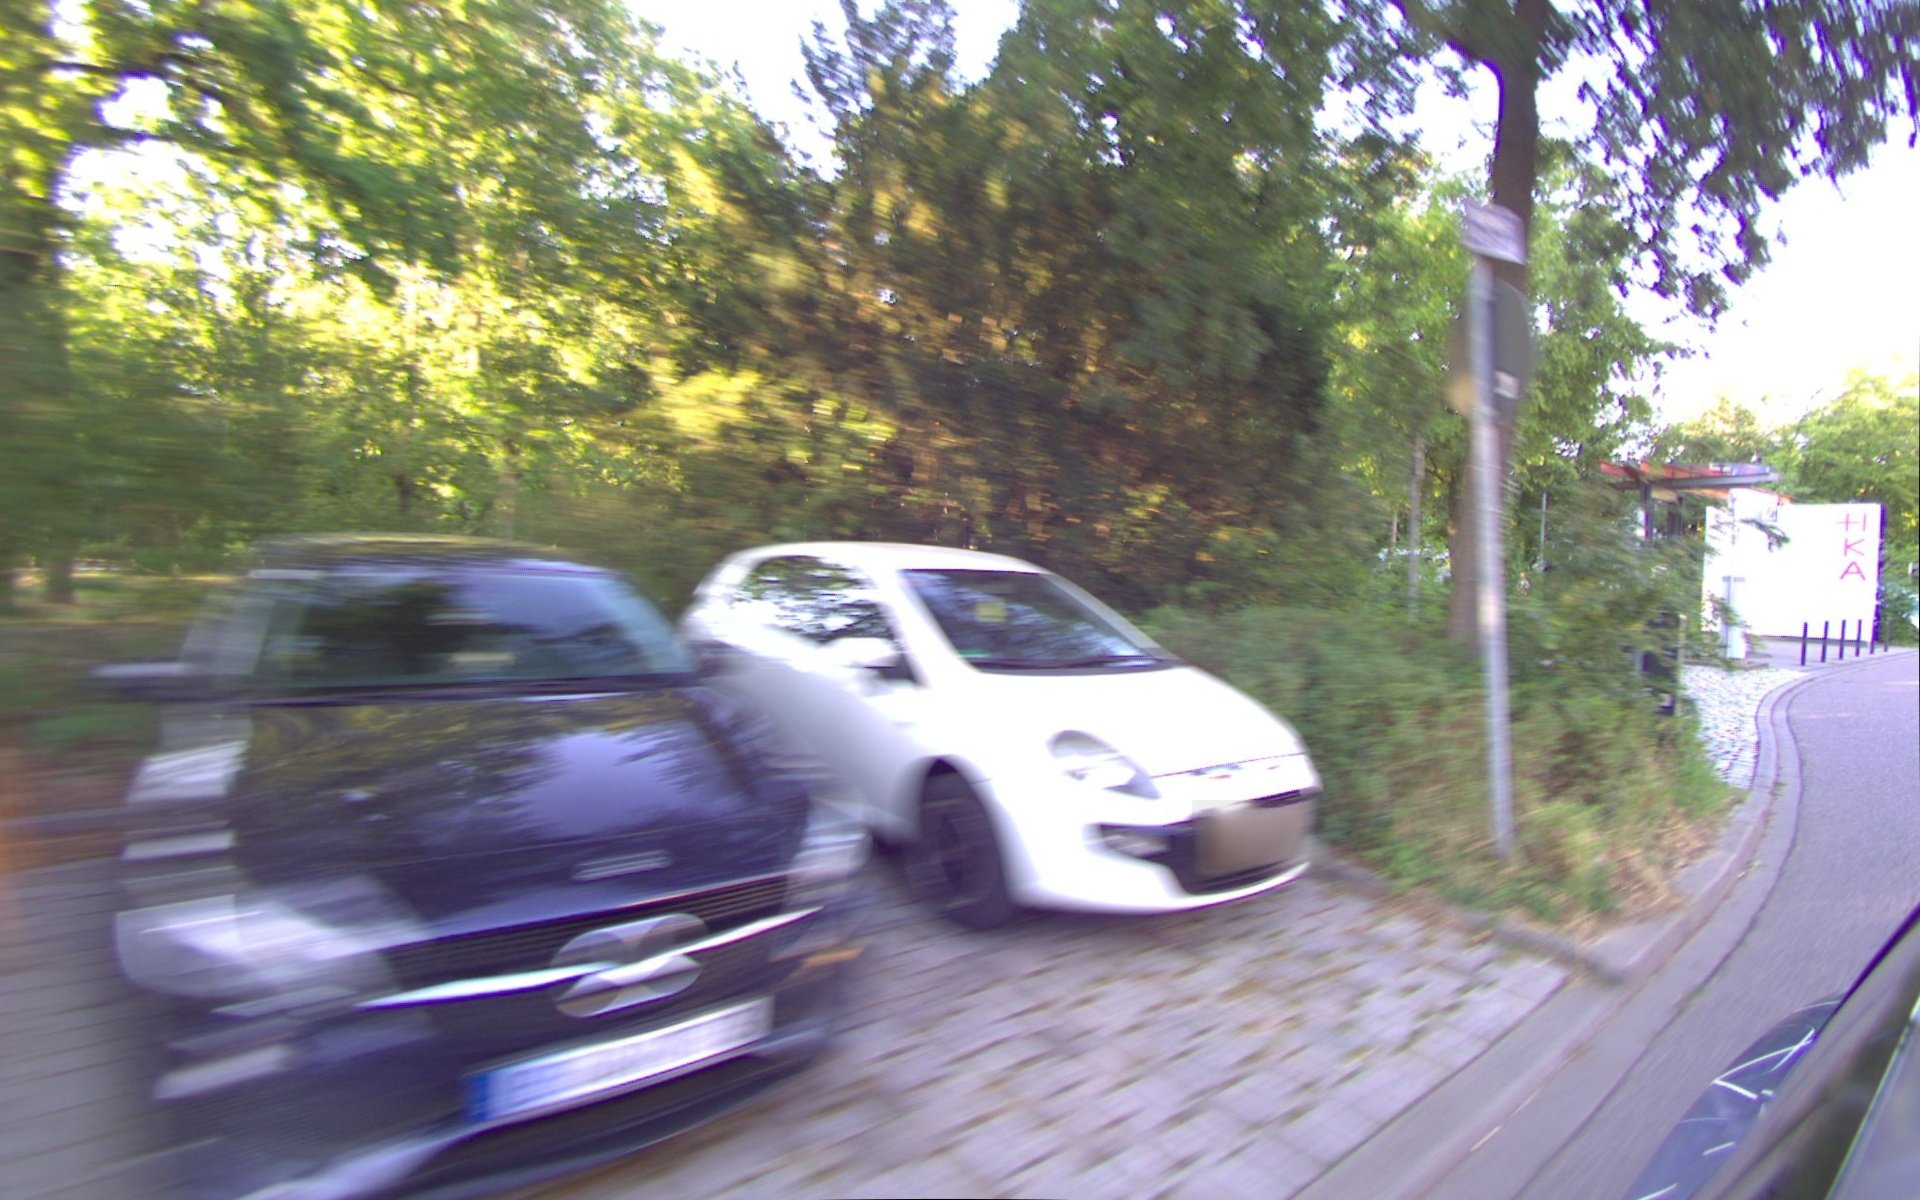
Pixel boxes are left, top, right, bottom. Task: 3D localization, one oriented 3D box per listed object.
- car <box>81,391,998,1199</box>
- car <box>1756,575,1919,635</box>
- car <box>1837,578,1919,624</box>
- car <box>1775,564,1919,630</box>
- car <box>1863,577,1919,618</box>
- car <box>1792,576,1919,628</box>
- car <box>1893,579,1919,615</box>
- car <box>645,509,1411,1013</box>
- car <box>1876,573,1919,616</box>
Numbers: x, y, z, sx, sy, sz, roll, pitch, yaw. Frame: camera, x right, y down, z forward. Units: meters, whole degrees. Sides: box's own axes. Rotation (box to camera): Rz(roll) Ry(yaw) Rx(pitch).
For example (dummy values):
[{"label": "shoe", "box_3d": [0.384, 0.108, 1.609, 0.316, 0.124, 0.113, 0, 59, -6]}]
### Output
[{"label": "car", "box_3d": [-1.822, 0.392, 3.565, 1.694, 1.573, 3.999, 1, 2, -38]}, {"label": "car", "box_3d": [29.098, 0.139, 32.721, 1.881, 1.572, 4.942, -1, 5, -38]}, {"label": "car", "box_3d": [36.654, 0.086, 38.679, 1.886, 1.555, 4.376, -1, 5, -38]}, {"label": "car", "box_3d": [31.097, -0.106, 34.425, 1.881, 1.938, 4.867, -1, 5, -38]}, {"label": "car", "box_3d": [40.995, -0.030, 42.417, 1.842, 1.572, 4.376, -1, 5, -38]}, {"label": "car", "box_3d": [32.975, 0.077, 35.955, 1.881, 1.572, 4.942, -1, 5, -38]}, {"label": "car", "box_3d": [45.001, -0.034, 45.372, 1.696, 1.572, 4.376, -1, 5, -38]}, {"label": "car", "box_3d": [-0.051, 0.407, 5.252, 1.694, 1.573, 3.999, 1, 2, -38]}, {"label": "car", "box_3d": [43.136, -0.141, 44.174, 1.886, 1.801, 4.376, -1, 5, -38]}]
